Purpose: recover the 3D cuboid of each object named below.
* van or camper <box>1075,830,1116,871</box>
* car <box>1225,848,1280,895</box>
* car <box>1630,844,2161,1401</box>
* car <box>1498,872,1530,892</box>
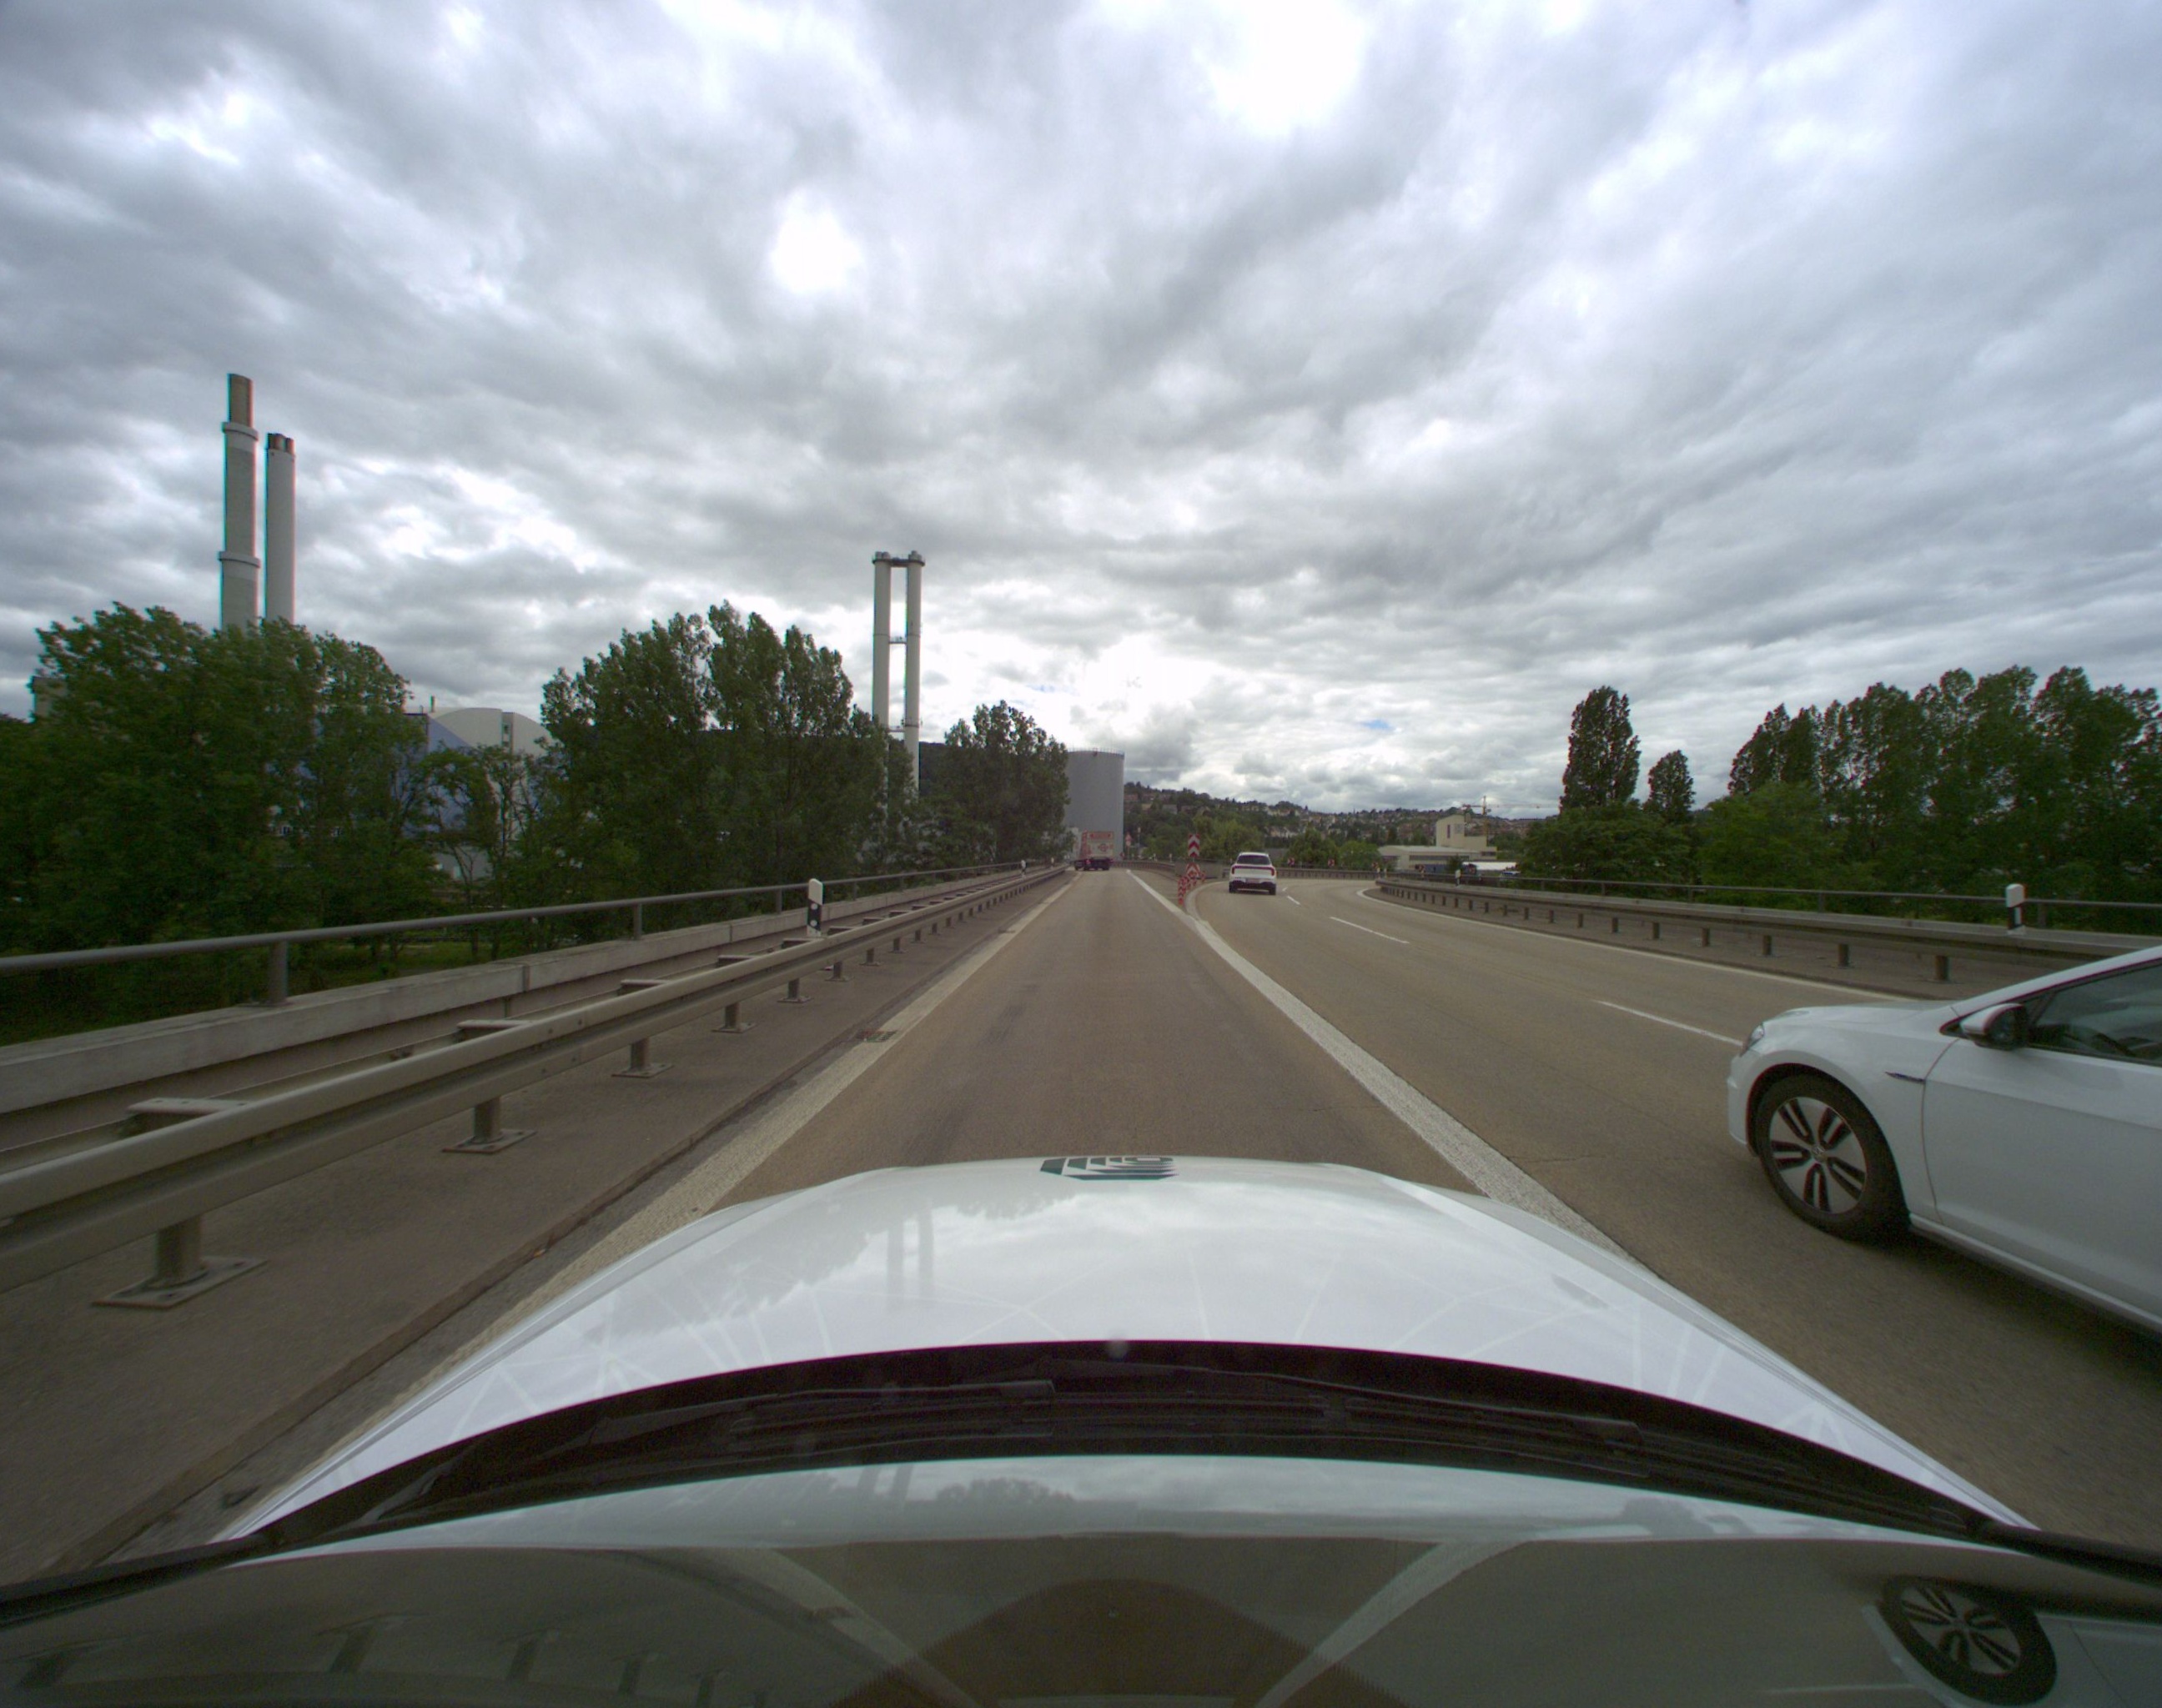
[{"bbox_3d":[1.255,-0.304,76.418,3.116,3.579,8.537,-1,0,-4],"label":"van or camper"},{"bbox_3d":[7.158,0.668,33.671,1.909,1.785,4.130,2,1,16],"label":"car"},{"bbox_3d":[3.744,0.713,2.240,1.748,1.451,4.073,-2,0,1],"label":"car"},{"bbox_3d":[41.817,2.688,78.596,1.905,1.785,4.139,-1,0,39],"label":"car"}]
